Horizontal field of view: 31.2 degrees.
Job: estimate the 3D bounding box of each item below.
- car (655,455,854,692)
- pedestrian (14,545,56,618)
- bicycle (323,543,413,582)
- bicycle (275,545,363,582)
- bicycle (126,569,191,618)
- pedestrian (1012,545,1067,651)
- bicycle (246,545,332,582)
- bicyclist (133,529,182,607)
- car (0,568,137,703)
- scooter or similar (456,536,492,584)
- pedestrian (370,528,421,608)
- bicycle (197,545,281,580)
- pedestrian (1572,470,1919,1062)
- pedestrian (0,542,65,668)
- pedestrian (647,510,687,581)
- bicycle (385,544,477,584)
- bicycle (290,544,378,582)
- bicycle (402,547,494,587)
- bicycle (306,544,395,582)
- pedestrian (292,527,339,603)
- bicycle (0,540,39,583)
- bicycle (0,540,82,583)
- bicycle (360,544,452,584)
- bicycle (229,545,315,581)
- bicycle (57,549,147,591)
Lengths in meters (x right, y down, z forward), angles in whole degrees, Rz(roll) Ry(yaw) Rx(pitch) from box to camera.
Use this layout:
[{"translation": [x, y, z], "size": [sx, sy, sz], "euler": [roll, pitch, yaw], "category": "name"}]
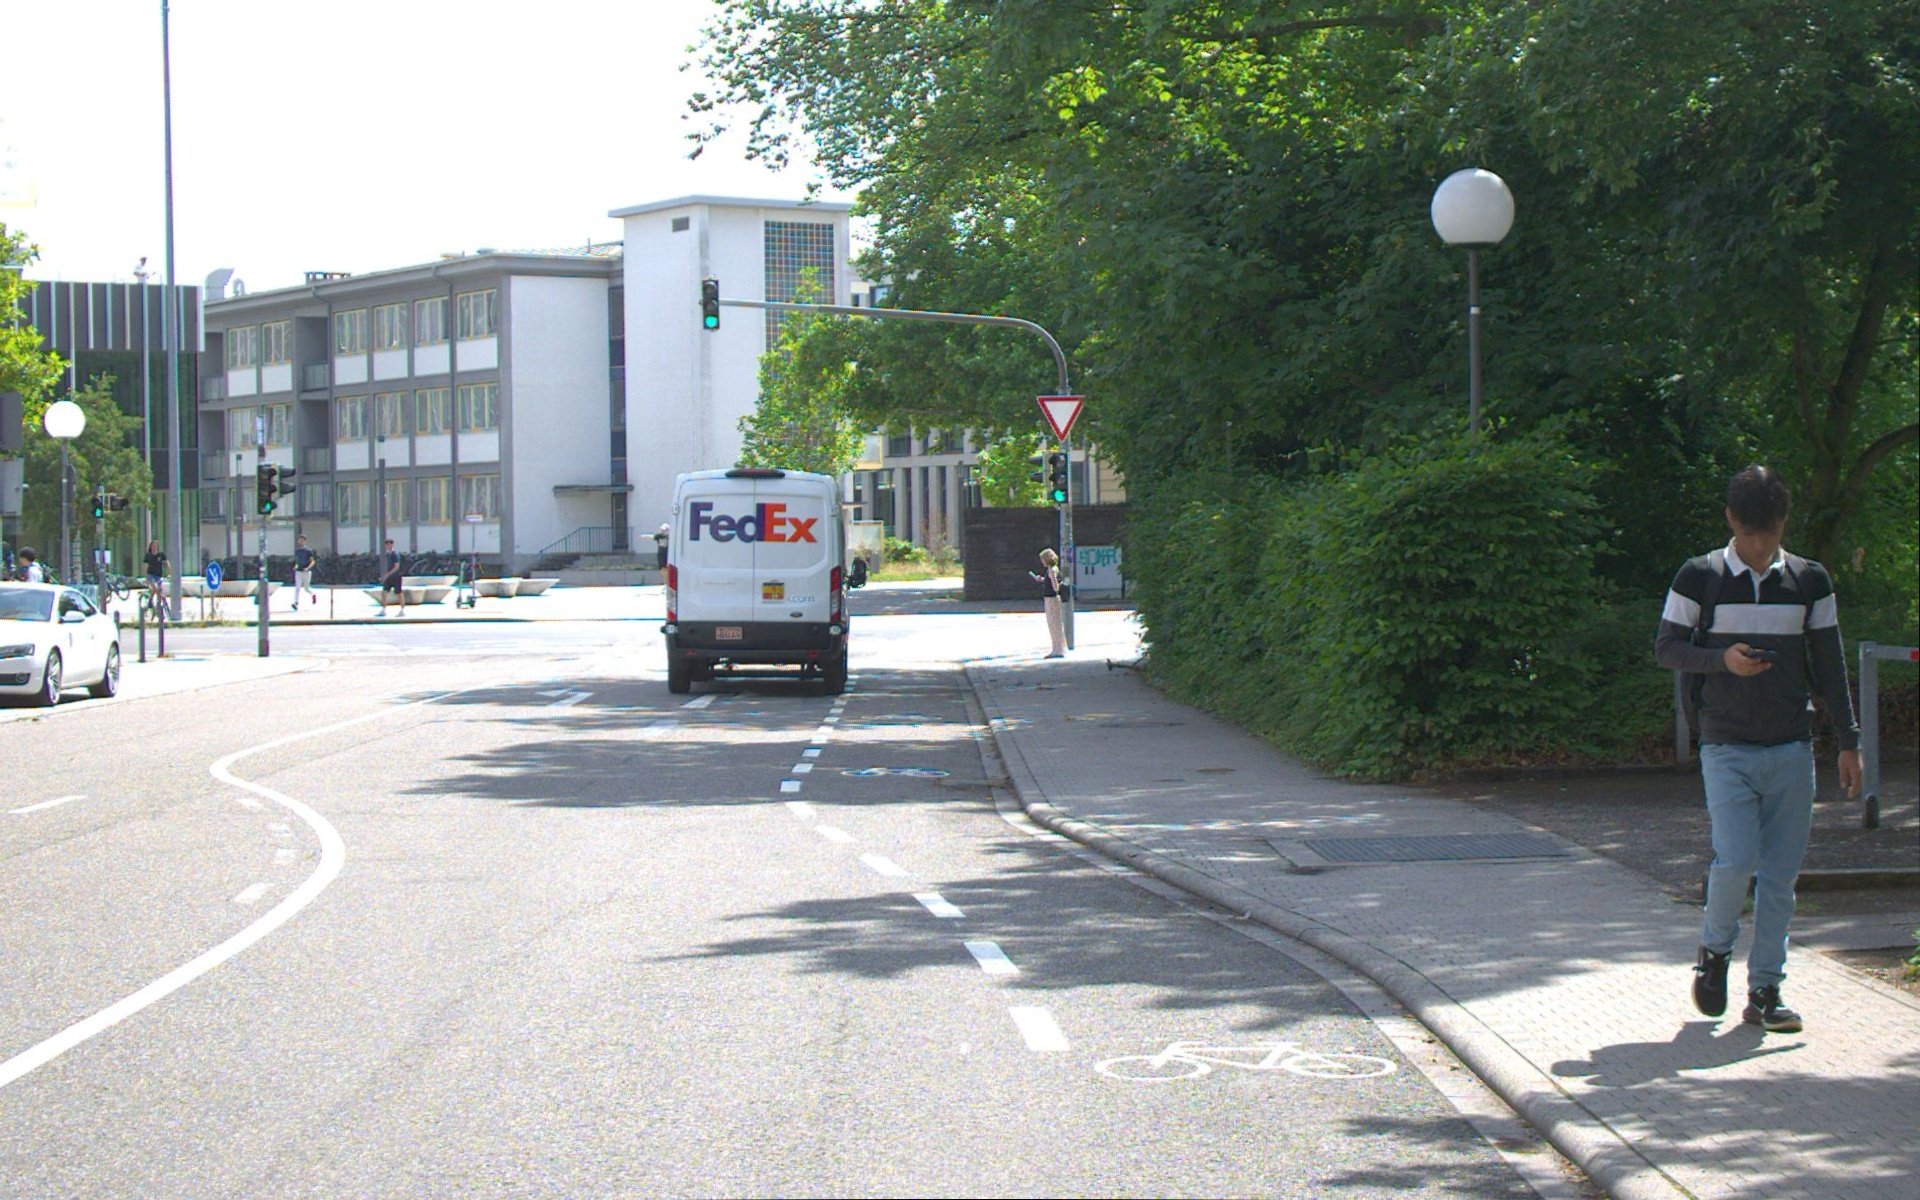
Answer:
[{"translation": [-2.339, -0.356, 40.503], "size": [2.095, 2.558, 5.603], "euler": [-1, 1, -1], "category": "car"}, {"translation": [-21.293, -0.431, 79.138], "size": [0.753, 1.672, 0.755], "euler": [-1, 1, -4], "category": "pedestrian"}, {"translation": [-21.070, -1.333, 122.387], "size": [2.956, 1.359, 1.117], "euler": [-1, 1, -38], "category": "bicycle"}, {"translation": [-23.402, -1.339, 125.511], "size": [2.956, 1.359, 1.117], "euler": [-1, 1, -38], "category": "bicycle"}, {"translation": [-19.024, -0.161, 81.594], "size": [0.771, 1.118, 2.025], "euler": [-1, 1, 9], "category": "bicycle"}, {"translation": [1.186, -0.030, 51.396], "size": [0.731, 1.570, 0.776], "euler": [0, 1, -5], "category": "pedestrian"}, {"translation": [-24.859, -1.366, 127.401], "size": [2.956, 1.359, 1.117], "euler": [-1, 1, -38], "category": "bicycle"}, {"translation": [-19.030, -0.763, 81.532], "size": [0.790, 1.811, 0.999], "euler": [-1, 1, 9], "category": "bicyclist"}, {"translation": [-10.930, 0.364, 39.791], "size": [1.676, 1.390, 4.662], "euler": [1, 1, 0], "category": "car"}, {"translation": [-12.114, -1.007, 85.638], "size": [0.716, 1.174, 2.726], "euler": [-1, 1, -11], "category": "scooter or similar"}, {"translation": [-13.502, -0.770, 82.217], "size": [1.080, 1.864, 0.832], "euler": [-1, 1, -2], "category": "pedestrian"}, {"translation": [-27.660, -1.442, 131.893], "size": [2.956, 1.359, 1.117], "euler": [-1, 1, -38], "category": "bicycle"}, {"translation": [2.371, 0.458, 10.380], "size": [0.739, 1.669, 1.257], "euler": [-1, 1, -4], "category": "pedestrian"}, {"translation": [-13.755, 0.067, 50.986], "size": [0.719, 1.853, 0.770], "euler": [-1, 1, 1], "category": "pedestrian"}, {"translation": [-7.908, -1.475, 92.815], "size": [0.865, 1.883, 0.913], "euler": [-1, 1, -20], "category": "pedestrian"}, {"translation": [-18.302, -1.248, 118.959], "size": [2.956, 1.359, 1.117], "euler": [-1, 1, -38], "category": "bicycle"}, {"translation": [-22.659, -1.331, 124.491], "size": [2.956, 1.359, 1.117], "euler": [-1, 1, -38], "category": "bicycle"}, {"translation": [-17.545, -1.128, 117.864], "size": [2.956, 1.359, 1.117], "euler": [-1, 1, -38], "category": "bicycle"}, {"translation": [-21.875, -1.345, 123.440], "size": [2.956, 1.359, 1.117], "euler": [-1, 1, -38], "category": "bicycle"}, {"translation": [-16.189, -0.883, 86.351], "size": [0.703, 1.849, 1.398], "euler": [-1, 3, 9], "category": "pedestrian"}, {"translation": [-27.817, -1.118, 98.903], "size": [2.949, 1.233, 1.198], "euler": [1, 1, 44], "category": "bicycle"}, {"translation": [-26.820, -1.129, 99.824], "size": [2.949, 1.233, 1.198], "euler": [1, 1, 44], "category": "bicycle"}, {"translation": [-19.367, -1.266, 120.218], "size": [2.956, 1.359, 1.275], "euler": [-1, 1, -38], "category": "bicycle"}, {"translation": [-25.779, -1.386, 128.880], "size": [2.956, 1.359, 1.117], "euler": [-1, 1, -38], "category": "bicycle"}, {"translation": [-25.256, -0.893, 101.139], "size": [2.949, 1.233, 1.198], "euler": [1, 1, 44], "category": "bicycle"}]
